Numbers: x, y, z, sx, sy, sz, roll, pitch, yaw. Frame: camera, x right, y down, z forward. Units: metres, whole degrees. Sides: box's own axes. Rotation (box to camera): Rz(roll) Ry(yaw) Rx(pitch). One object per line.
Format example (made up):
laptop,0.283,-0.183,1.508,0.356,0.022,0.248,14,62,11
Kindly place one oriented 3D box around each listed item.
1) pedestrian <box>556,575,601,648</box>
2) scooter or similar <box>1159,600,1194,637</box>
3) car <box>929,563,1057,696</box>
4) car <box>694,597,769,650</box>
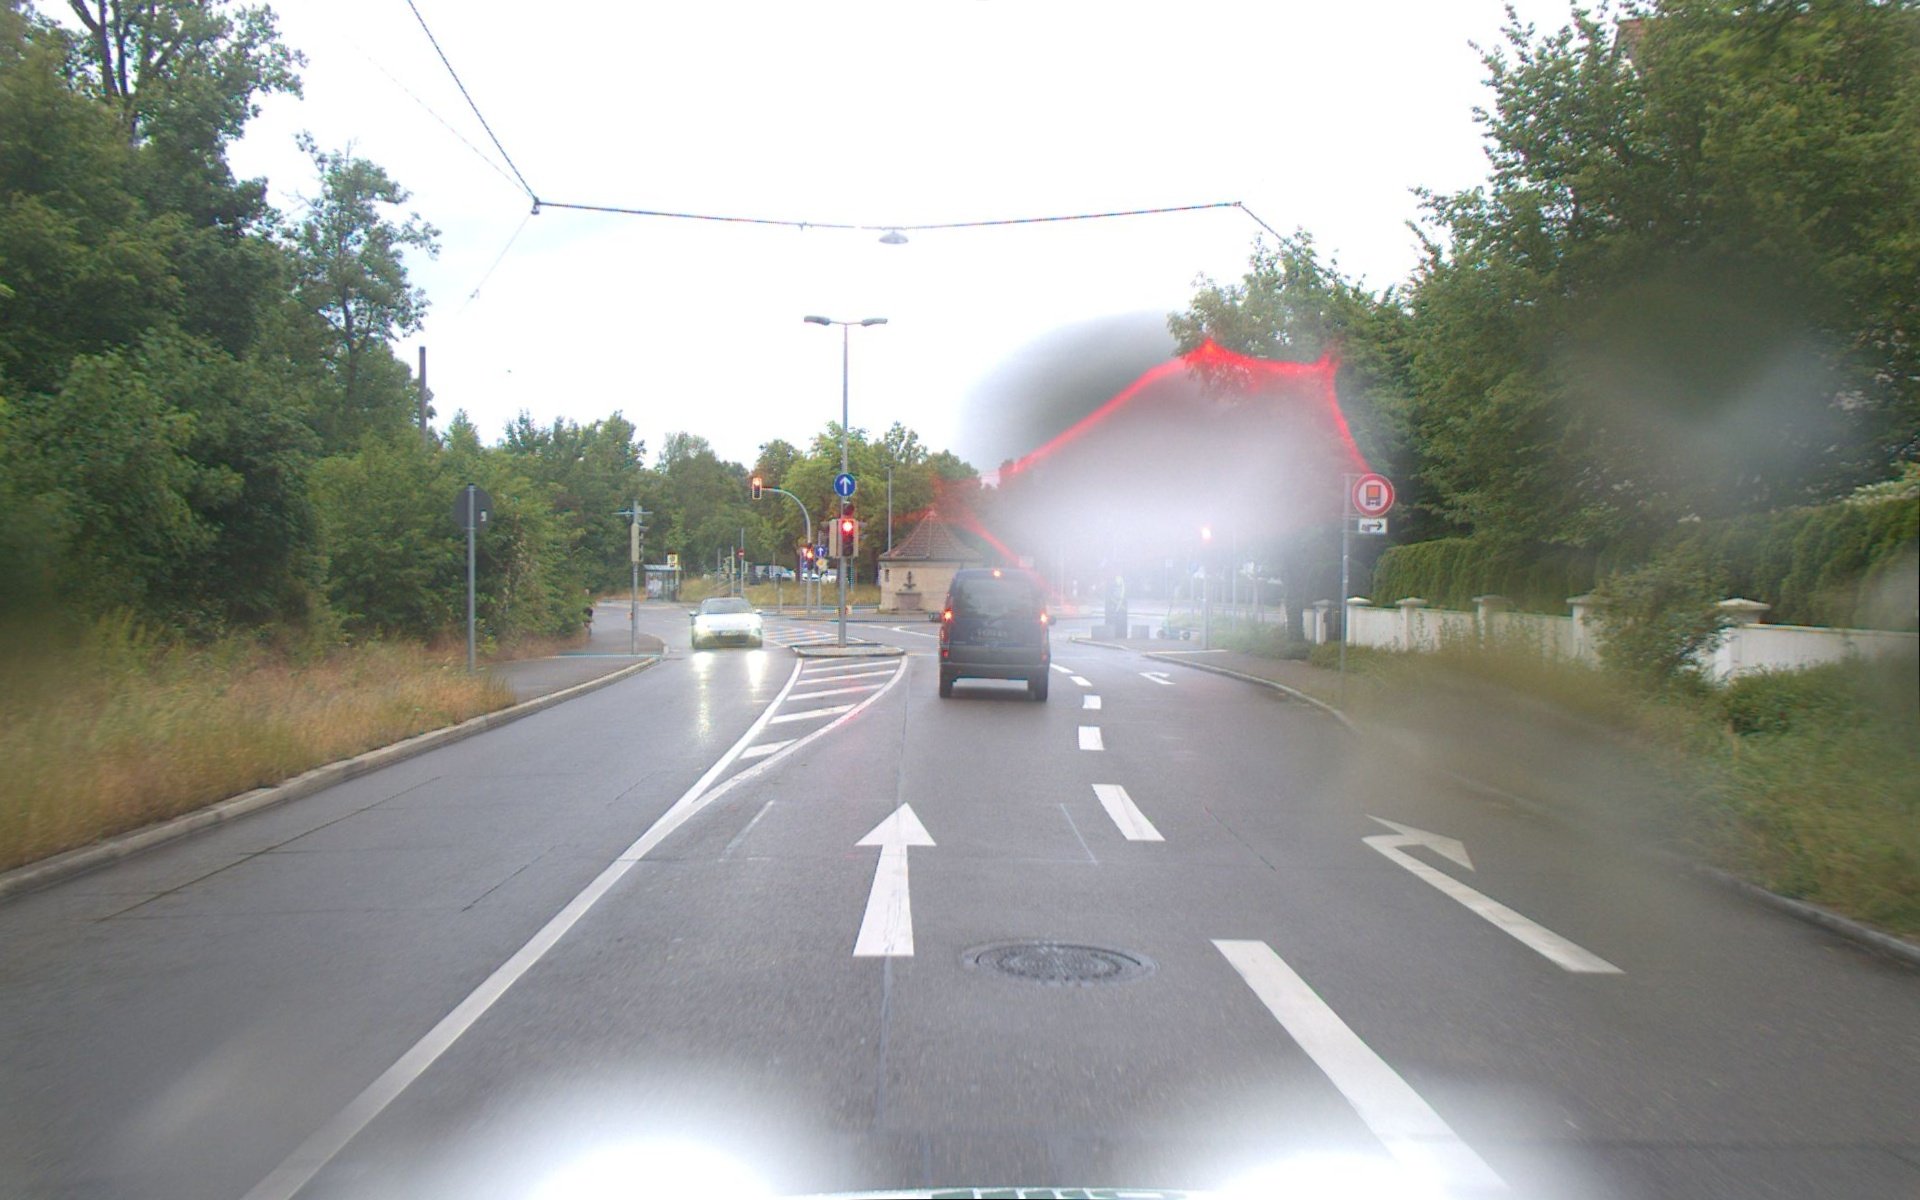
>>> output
pedestrian,-10.982,0.327,47.647,1.066,2.049,0.999,1,-1,-5
scooter or similar,7.387,0.619,56.400,1.125,1.240,0.406,0,-1,-1
car,0.425,0.400,25.095,1.697,1.817,3.999,1,0,-2
car,-6.639,0.634,47.704,1.957,1.334,4.349,-2,1,-10
